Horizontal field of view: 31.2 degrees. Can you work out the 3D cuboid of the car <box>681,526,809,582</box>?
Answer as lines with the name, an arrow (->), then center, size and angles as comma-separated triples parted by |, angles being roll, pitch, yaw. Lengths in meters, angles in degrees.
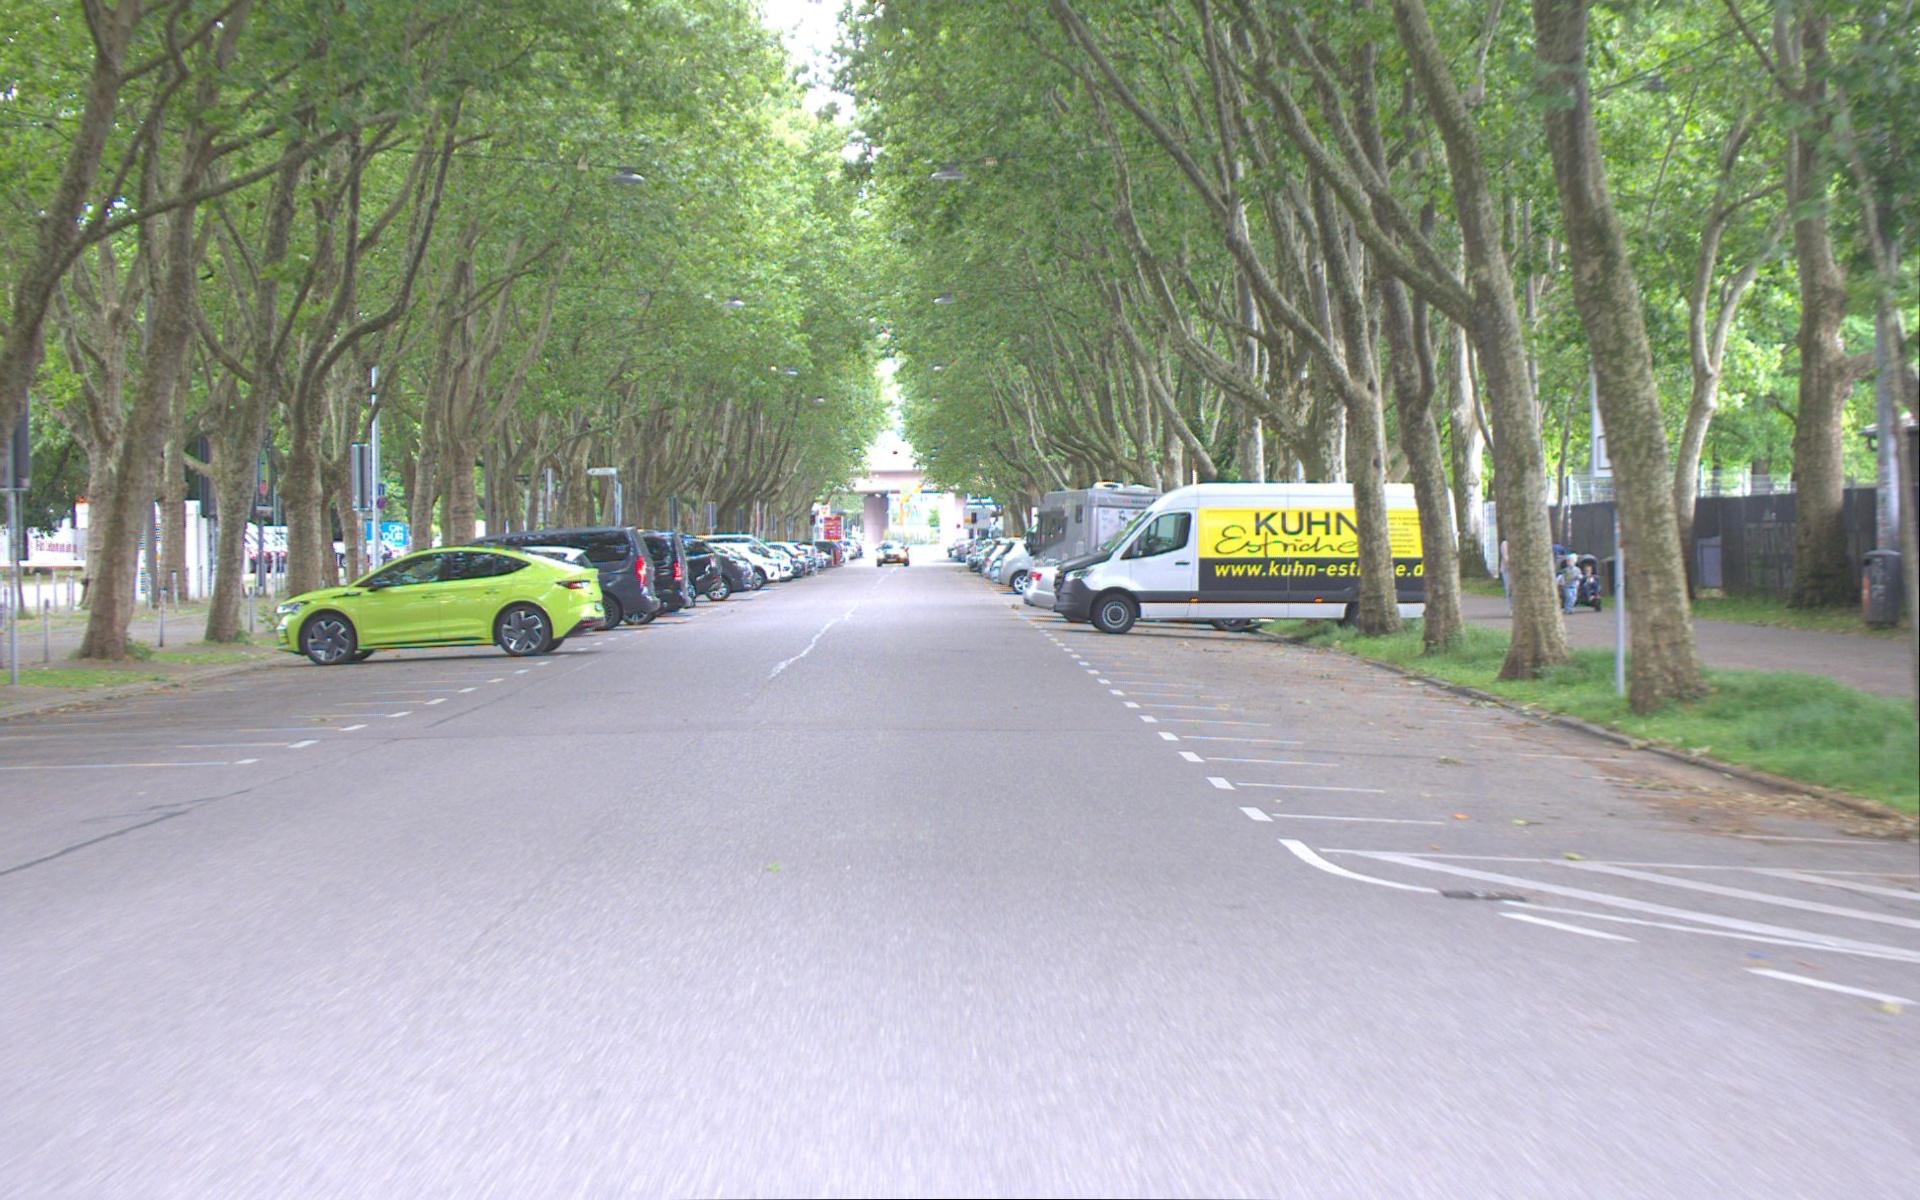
car -> -8.465, -1.802, 135.488 | 4.893, 2.012, 1.920 | -2, 1, -1

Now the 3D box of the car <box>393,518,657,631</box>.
car -> -8.060, -0.481, 64.070 | 4.761, 1.917, 2.018 | -2, 1, -5

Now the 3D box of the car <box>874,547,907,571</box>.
car -> -4.114, -2.408, 202.318 | 1.654, 1.359, 4.113 | -3, 1, -4

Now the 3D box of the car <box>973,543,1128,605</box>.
car -> 2.594, -0.743, 97.977 | 4.340, 1.612, 1.803 | 2, 1, 3

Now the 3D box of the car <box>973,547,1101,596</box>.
car -> 2.527, -0.922, 113.229 | 4.120, 1.424, 1.703 | 2, 0, 1

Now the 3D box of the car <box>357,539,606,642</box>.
car -> -8.192, -0.183, 59.132 | 4.104, 1.563, 1.758 | -3, 1, -5

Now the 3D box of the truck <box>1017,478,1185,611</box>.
truck -> 3.221, -1.285, 80.398 | 2.458, 2.928, 7.540 | 0, 1, -9

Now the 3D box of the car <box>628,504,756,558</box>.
car -> -9.373, -2.416, 120.568 | 4.340, 1.662, 2.000 | -3, 1, -2

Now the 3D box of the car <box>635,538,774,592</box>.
car -> -8.343, -1.160, 112.556 | 4.379, 1.591, 2.000 | -2, 1, -2

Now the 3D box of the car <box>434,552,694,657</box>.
car -> -7.925, 0.077, 69.116 | 4.905, 1.917, 2.208 | -2, 1, 0

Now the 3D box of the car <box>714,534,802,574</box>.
car -> -8.946, -2.029, 152.471 | 3.826, 1.622, 1.953 | -2, 1, -3

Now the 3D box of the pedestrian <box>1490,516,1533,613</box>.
pedestrian -> 9.982, -0.648, 62.210 | 0.639, 1.735, 0.621 | -2, 1, 3

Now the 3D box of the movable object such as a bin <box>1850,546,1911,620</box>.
movable object such as a bin -> 12.629, -0.236, 47.165 | 0.568, 0.956, 0.675 | -5, 1, -1

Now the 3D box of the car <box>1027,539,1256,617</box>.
car -> 3.508, -0.433, 66.584 | 4.359, 1.440, 1.612 | 1, 1, 3

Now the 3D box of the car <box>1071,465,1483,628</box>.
car -> 5.387, -0.916, 59.132 | 6.881, 2.686, 2.127 | 1, 1, 1

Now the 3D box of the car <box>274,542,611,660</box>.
car -> -7.363, 0.000, 49.178 | 4.516, 1.612, 1.758 | -1, 1, 2

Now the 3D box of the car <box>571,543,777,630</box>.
car -> -7.794, -0.370, 94.099 | 5.435, 2.120, 1.940 | -2, 1, -2
